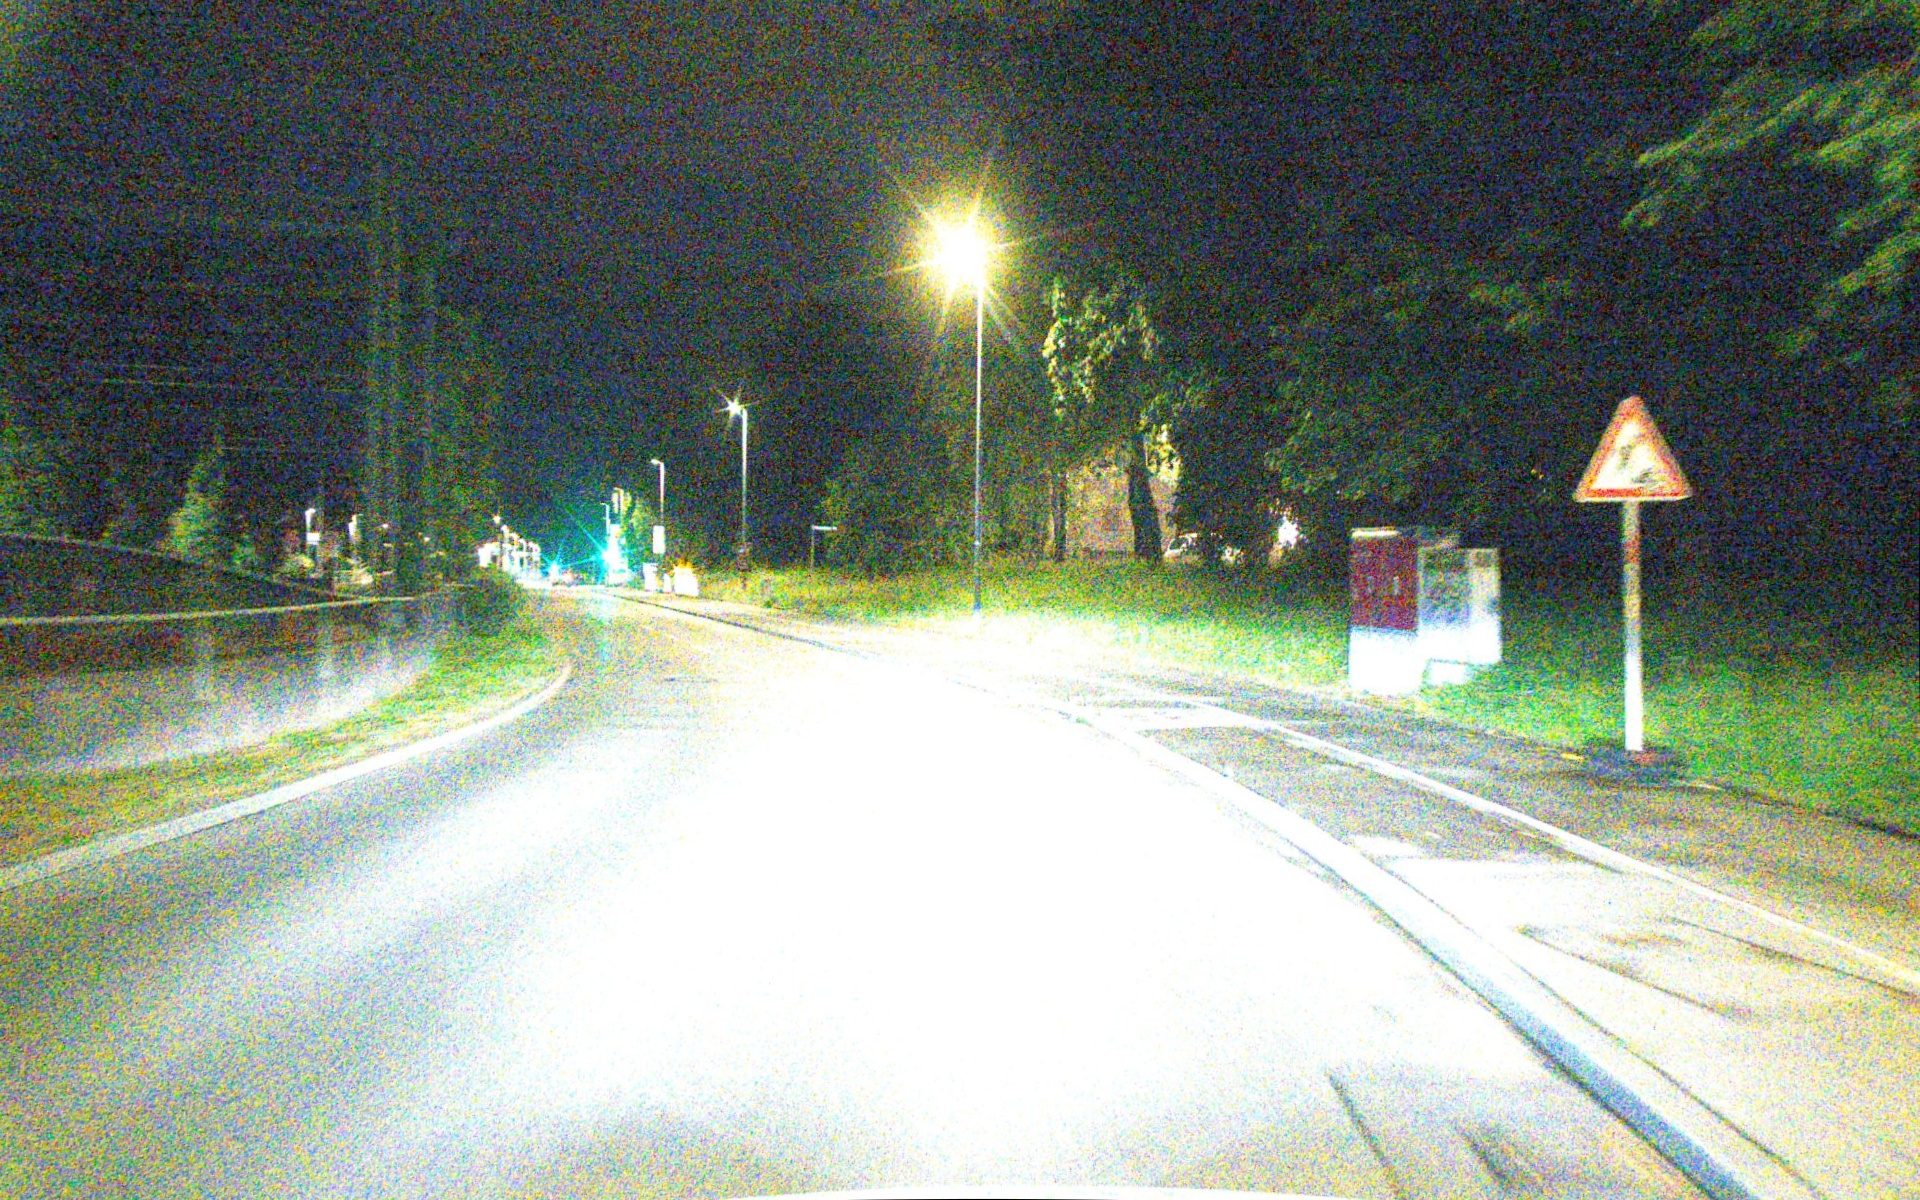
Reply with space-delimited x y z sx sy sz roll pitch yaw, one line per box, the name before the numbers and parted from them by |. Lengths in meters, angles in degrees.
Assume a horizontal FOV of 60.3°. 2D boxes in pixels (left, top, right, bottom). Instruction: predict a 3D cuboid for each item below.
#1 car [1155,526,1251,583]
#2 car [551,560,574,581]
car | 8.513 -1.599 58.216 1.918 1.869 4.100 -2 2 -14
car | -38.603 -2.877 160.485 2.053 2.048 3.985 0 1 -15
